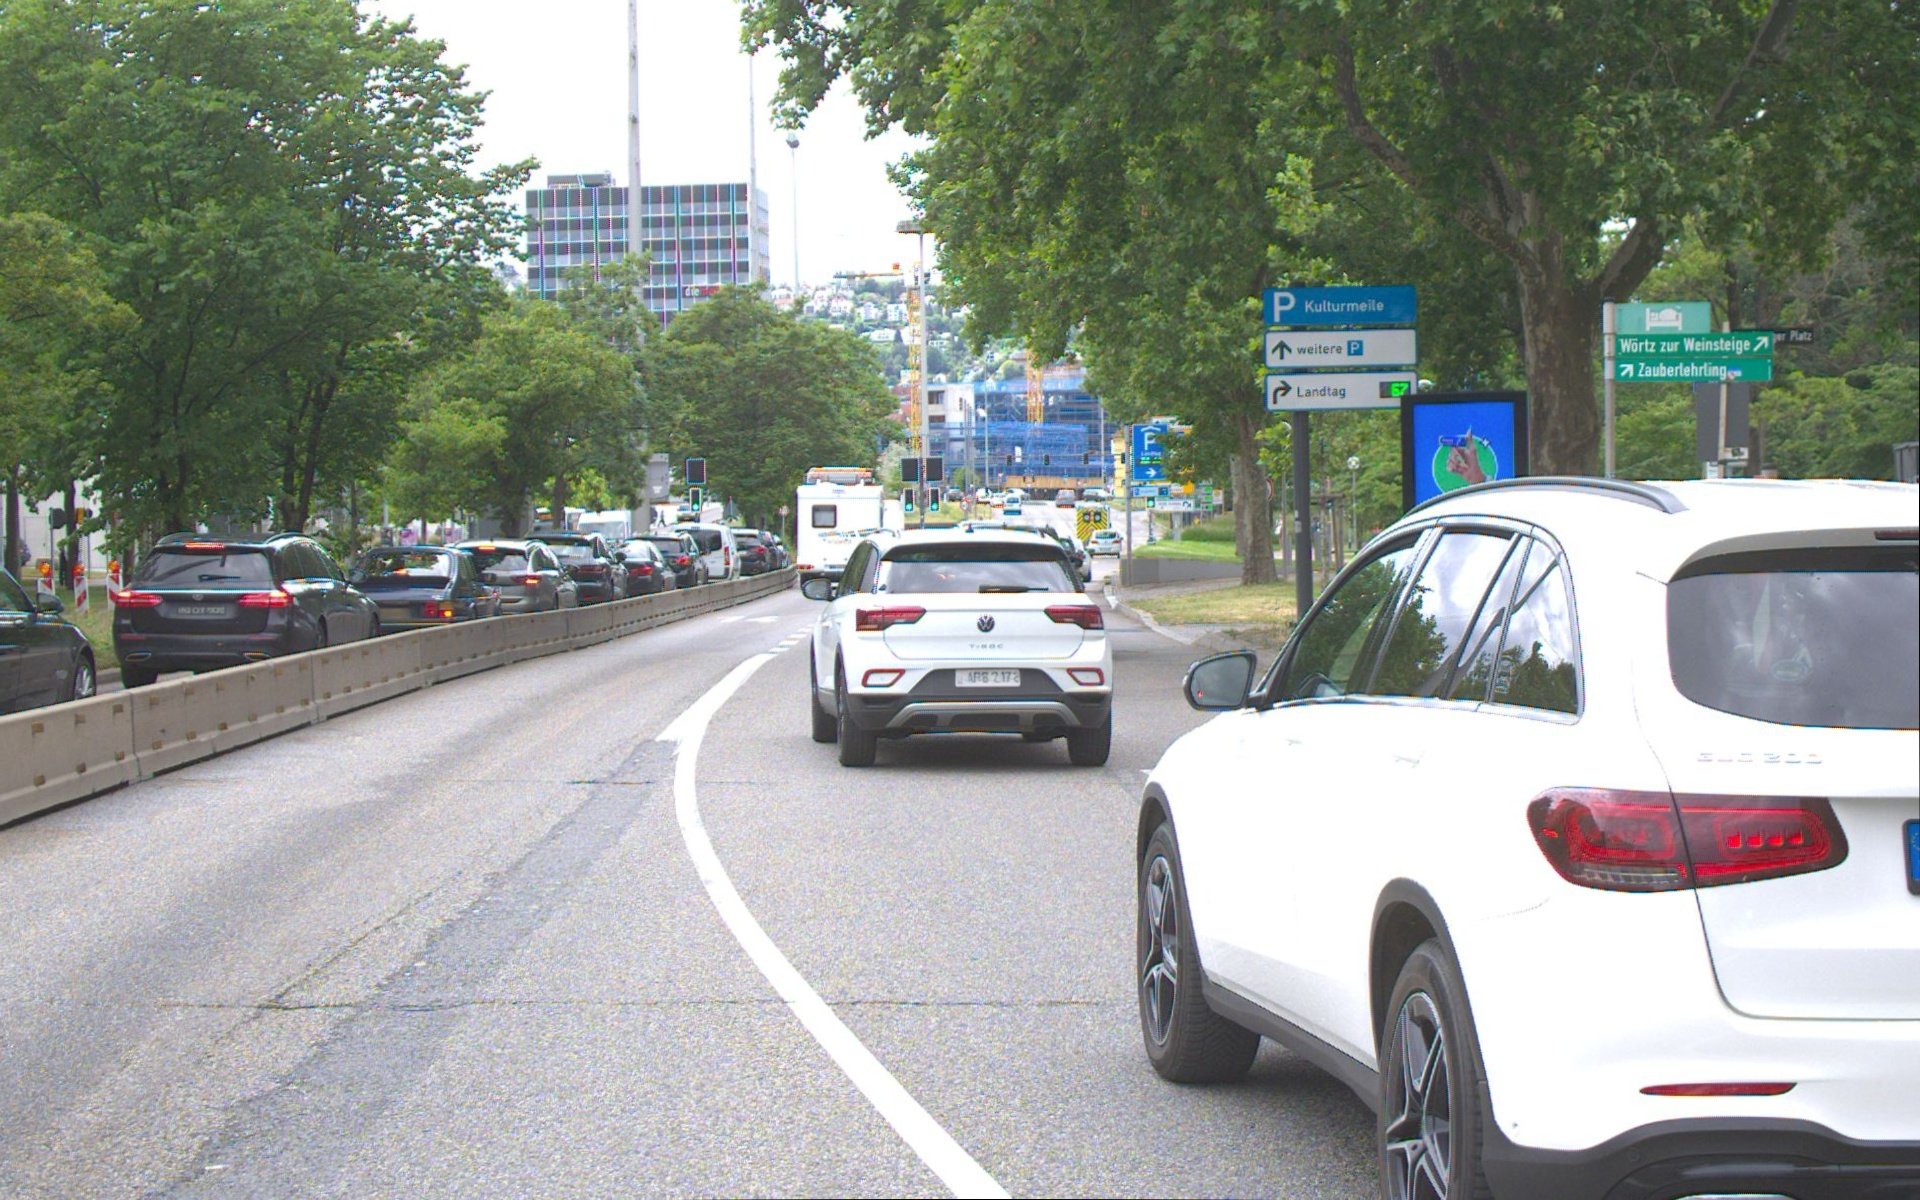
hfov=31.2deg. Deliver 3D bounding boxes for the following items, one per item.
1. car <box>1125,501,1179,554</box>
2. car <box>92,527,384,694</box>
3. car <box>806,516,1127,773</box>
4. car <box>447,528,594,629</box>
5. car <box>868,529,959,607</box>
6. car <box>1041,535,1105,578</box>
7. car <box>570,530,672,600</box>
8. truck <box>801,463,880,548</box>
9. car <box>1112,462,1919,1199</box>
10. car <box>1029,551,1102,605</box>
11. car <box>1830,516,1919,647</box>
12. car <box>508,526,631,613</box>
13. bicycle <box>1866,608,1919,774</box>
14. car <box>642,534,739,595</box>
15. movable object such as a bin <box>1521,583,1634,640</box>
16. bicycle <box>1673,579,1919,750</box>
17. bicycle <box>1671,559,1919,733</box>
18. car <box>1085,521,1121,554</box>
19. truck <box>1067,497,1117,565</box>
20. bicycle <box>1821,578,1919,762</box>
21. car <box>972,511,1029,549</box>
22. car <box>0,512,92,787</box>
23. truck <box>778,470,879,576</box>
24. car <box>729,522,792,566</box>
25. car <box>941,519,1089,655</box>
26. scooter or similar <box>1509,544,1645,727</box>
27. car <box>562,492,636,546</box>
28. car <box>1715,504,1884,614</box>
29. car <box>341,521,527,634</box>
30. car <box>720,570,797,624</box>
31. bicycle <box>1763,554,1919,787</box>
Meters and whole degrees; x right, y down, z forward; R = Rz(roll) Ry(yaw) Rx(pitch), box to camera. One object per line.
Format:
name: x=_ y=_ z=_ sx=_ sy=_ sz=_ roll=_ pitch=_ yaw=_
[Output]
car: x=7.526 y=-2.834 z=134.974 sx=1.993 sy=2.007 sz=4.000 roll=0 pitch=1 yaw=2
car: x=-6.916 y=0.050 z=33.407 sx=1.816 sy=1.494 sz=4.769 roll=0 pitch=1 yaw=0
car: x=-0.039 y=0.253 z=23.439 sx=1.795 sy=1.603 sz=3.756 roll=0 pitch=1 yaw=-6
car: x=-6.481 y=-0.327 z=51.042 sx=1.661 sy=1.431 sz=3.960 roll=0 pitch=1 yaw=0
car: x=-0.862 y=-0.608 z=64.816 sx=1.659 sy=1.408 sz=3.547 roll=0 pitch=1 yaw=0
car: x=3.544 y=-1.387 z=108.124 sx=1.947 sy=1.315 sz=4.016 roll=0 pitch=1 yaw=2
car: x=-6.589 y=-0.699 z=67.118 sx=1.659 sy=1.315 sz=3.547 roll=0 pitch=1 yaw=0
truck: x=-4.346 y=-3.429 z=126.048 sx=2.691 sy=2.981 sz=5.638 roll=2 pitch=1 yaw=0
car: x=1.598 y=0.552 z=7.959 sx=1.787 sy=1.619 sz=4.438 roll=0 pitch=1 yaw=-7
car: x=2.868 y=-0.607 z=93.781 sx=1.947 sy=1.423 sz=4.016 roll=0 pitch=1 yaw=2
car: x=12.731 y=-0.247 z=41.891 sx=3.836 sy=1.563 sz=1.679 roll=0 pitch=1 yaw=1
car: x=-6.672 y=-0.558 z=59.056 sx=1.776 sy=1.415 sz=4.001 roll=-1 pitch=1 yaw=-2
bicycle: x=5.978 y=0.506 z=19.217 sx=1.730 sy=0.914 sz=0.613 roll=0 pitch=1 yaw=19
car: x=-5.956 y=-0.789 z=76.238 sx=1.659 sy=1.315 sz=3.547 roll=0 pitch=1 yaw=3
movable object such as a bin: x=7.436 y=0.136 z=41.436 sx=1.299 sy=0.650 sz=0.728 roll=2 pitch=0 yaw=9
bicycle: x=5.642 y=0.423 z=22.874 sx=1.729 sy=1.087 sz=0.425 roll=1 pitch=1 yaw=13
bicycle: x=5.517 y=0.293 z=22.346 sx=1.729 sy=1.087 sz=0.380 roll=1 pitch=1 yaw=13
car: x=7.418 y=-3.238 z=178.328 sx=1.758 sy=1.663 sz=4.168 roll=0 pitch=1 yaw=1
truck: x=8.193 y=-4.302 z=213.810 sx=2.877 sy=4.089 sz=6.638 roll=1 pitch=1 yaw=1
bicycle: x=5.720 y=0.401 z=19.546 sx=1.564 sy=1.024 sz=0.436 roll=1 pitch=1 yaw=12
car: x=1.451 y=-2.497 z=122.368 sx=1.947 sy=1.315 sz=4.016 roll=0 pitch=1 yaw=2
car: x=-6.727 y=0.277 z=21.139 sx=1.923 sy=1.630 sz=4.937 roll=0 pitch=1 yaw=-5
truck: x=-3.683 y=-2.186 z=97.912 sx=2.621 sy=2.851 sz=7.079 roll=1 pitch=1 yaw=0
car: x=-6.209 y=-1.748 z=107.438 sx=1.659 sy=1.315 sz=3.547 roll=0 pitch=1 yaw=2
car: x=0.658 y=-0.185 z=43.388 sx=1.659 sy=1.633 sz=3.548 roll=0 pitch=1 yaw=-2
scooter or similar: x=4.609 y=0.249 z=25.748 sx=0.725 sy=1.327 sz=1.414 roll=1 pitch=1 yaw=-1
car: x=-13.541 y=-3.037 z=129.203 sx=2.115 sy=1.962 sz=5.578 roll=-1 pitch=1 yaw=0
car: x=13.236 y=-0.675 z=54.409 sx=1.760 sy=1.546 sz=4.027 roll=0 pitch=3 yaw=1
car: x=-6.708 y=-0.325 z=44.259 sx=1.678 sy=1.362 sz=4.543 roll=0 pitch=1 yaw=0
car: x=-5.148 y=-0.083 z=88.186 sx=1.659 sy=1.315 sz=3.547 roll=0 pitch=1 yaw=2
bicycle: x=5.261 y=0.384 z=18.974 sx=1.544 sy=1.252 sz=0.542 roll=1 pitch=1 yaw=19
